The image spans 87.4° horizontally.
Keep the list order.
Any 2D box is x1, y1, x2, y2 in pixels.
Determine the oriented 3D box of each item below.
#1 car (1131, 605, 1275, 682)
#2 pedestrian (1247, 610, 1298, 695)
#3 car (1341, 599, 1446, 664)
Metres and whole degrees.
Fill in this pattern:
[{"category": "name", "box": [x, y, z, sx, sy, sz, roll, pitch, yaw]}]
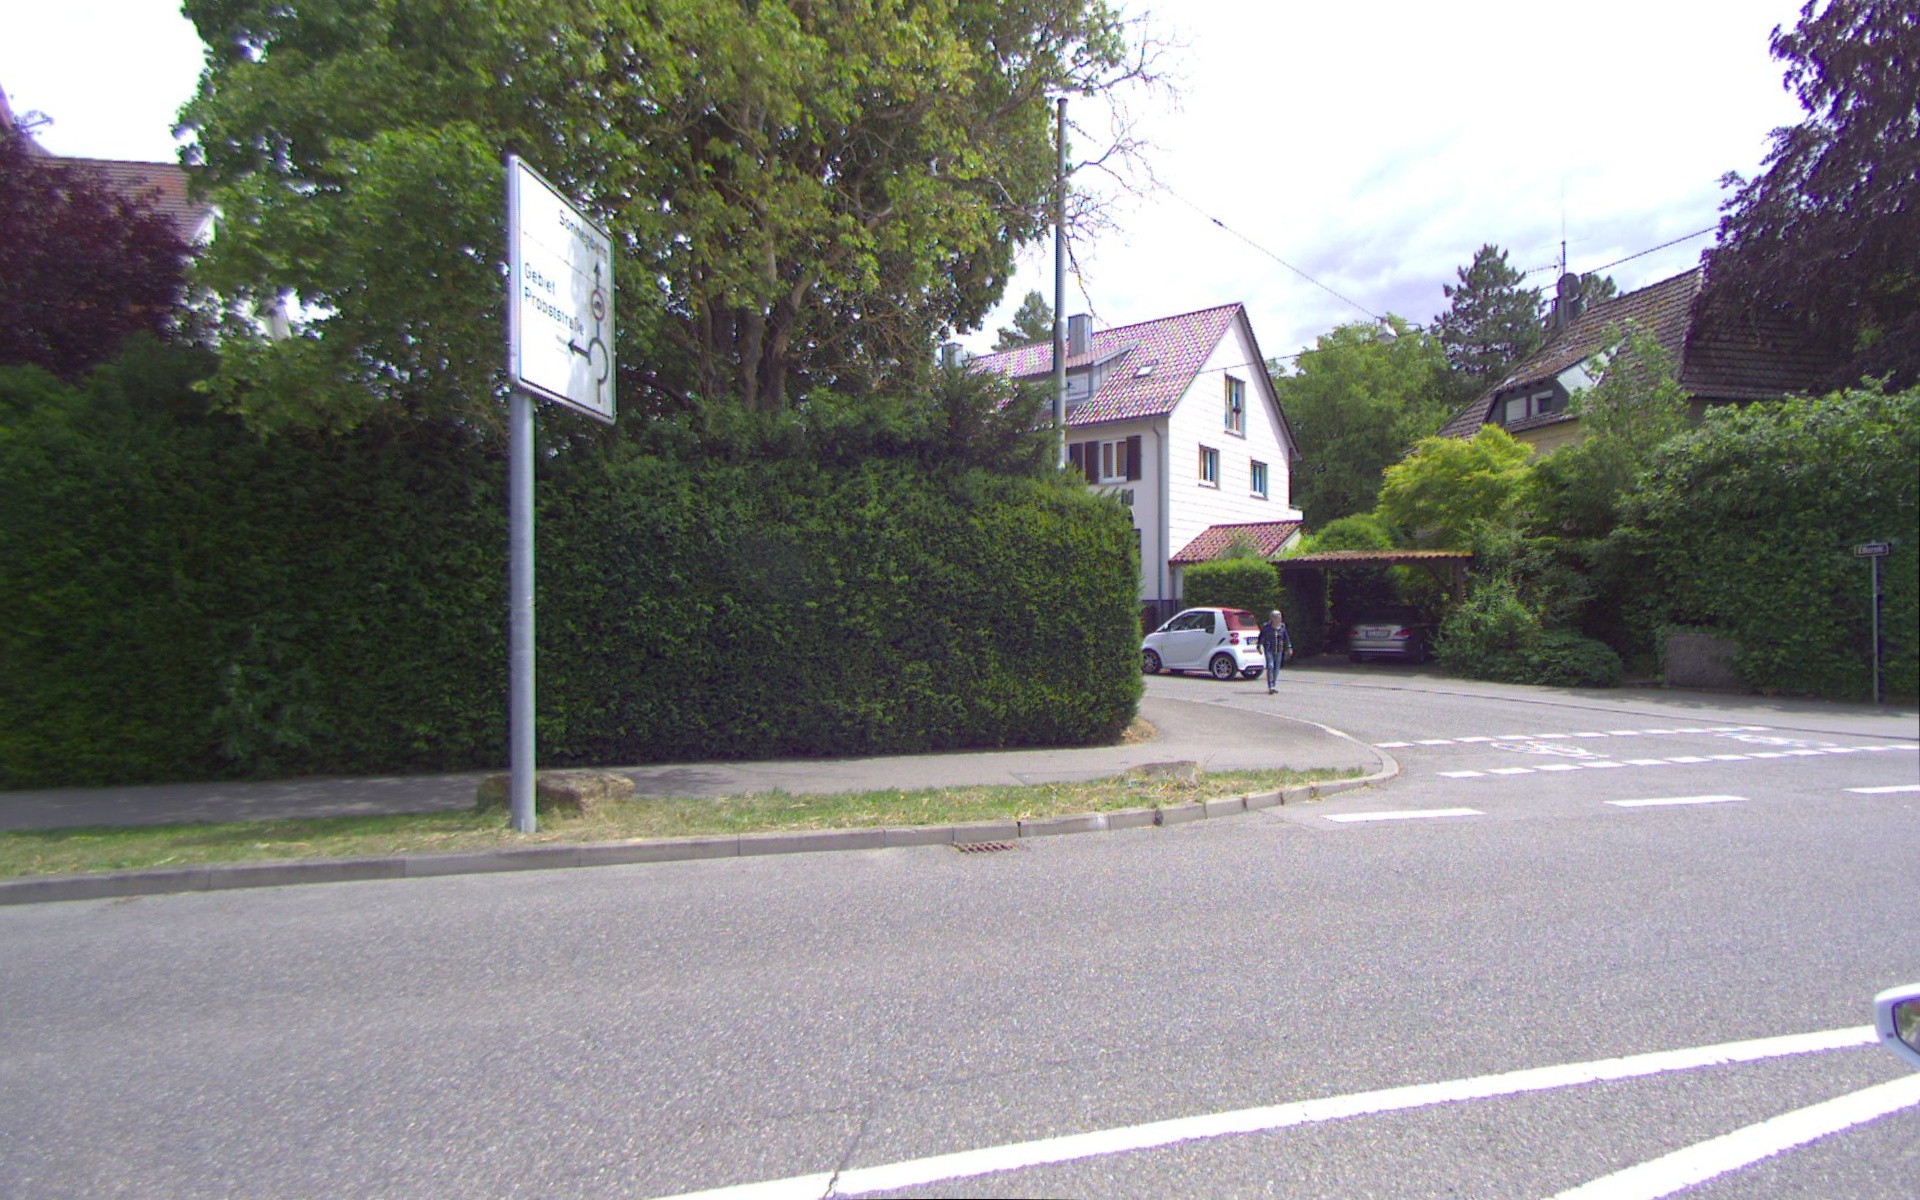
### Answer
[{"category": "car", "box": [5.476, 0.942, 22.714, 2.737, 1.576, 1.582, 1, 0, 41]}, {"category": "pedestrian", "box": [5.856, 0.965, 18.812, 0.720, 1.529, 0.625, 1, 0, 40]}, {"category": "car", "box": [11.183, 0.739, 25.781, 1.700, 1.530, 3.986, 1, 0, 35]}]
